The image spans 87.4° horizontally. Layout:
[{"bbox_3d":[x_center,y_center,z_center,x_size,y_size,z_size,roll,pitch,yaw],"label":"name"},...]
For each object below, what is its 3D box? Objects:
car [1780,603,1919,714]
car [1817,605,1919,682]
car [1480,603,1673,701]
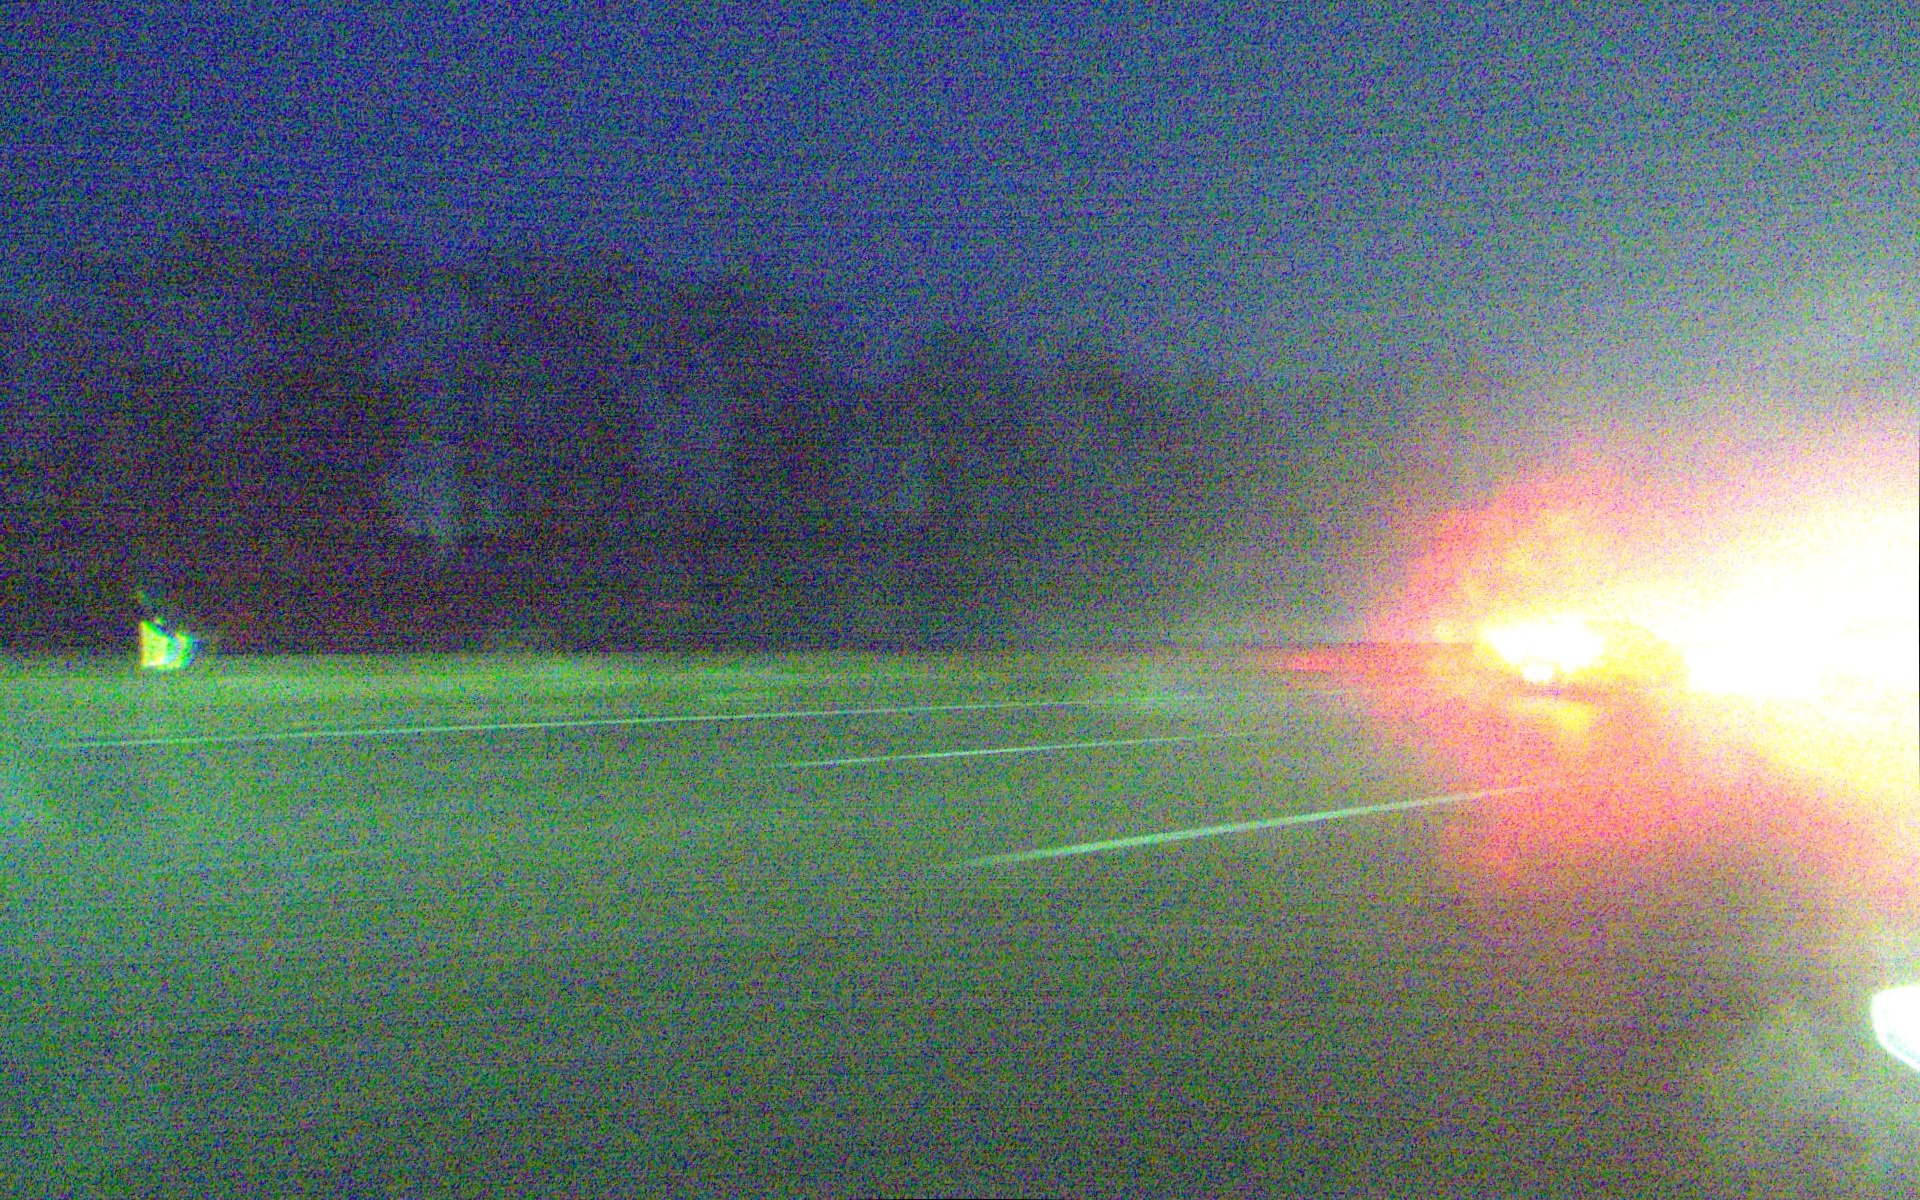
[{"bbox_3d":[17.155,1.014,18.522,4.471,1.785,2.025,1,0,-35],"label":"car"},{"bbox_3d":[28.201,1.255,30.329,5.570,2.132,2.110,1,0,-34],"label":"car"},{"bbox_3d":[12.105,0.939,19.676,3.958,1.712,1.755,0,0,-34],"label":"car"}]
